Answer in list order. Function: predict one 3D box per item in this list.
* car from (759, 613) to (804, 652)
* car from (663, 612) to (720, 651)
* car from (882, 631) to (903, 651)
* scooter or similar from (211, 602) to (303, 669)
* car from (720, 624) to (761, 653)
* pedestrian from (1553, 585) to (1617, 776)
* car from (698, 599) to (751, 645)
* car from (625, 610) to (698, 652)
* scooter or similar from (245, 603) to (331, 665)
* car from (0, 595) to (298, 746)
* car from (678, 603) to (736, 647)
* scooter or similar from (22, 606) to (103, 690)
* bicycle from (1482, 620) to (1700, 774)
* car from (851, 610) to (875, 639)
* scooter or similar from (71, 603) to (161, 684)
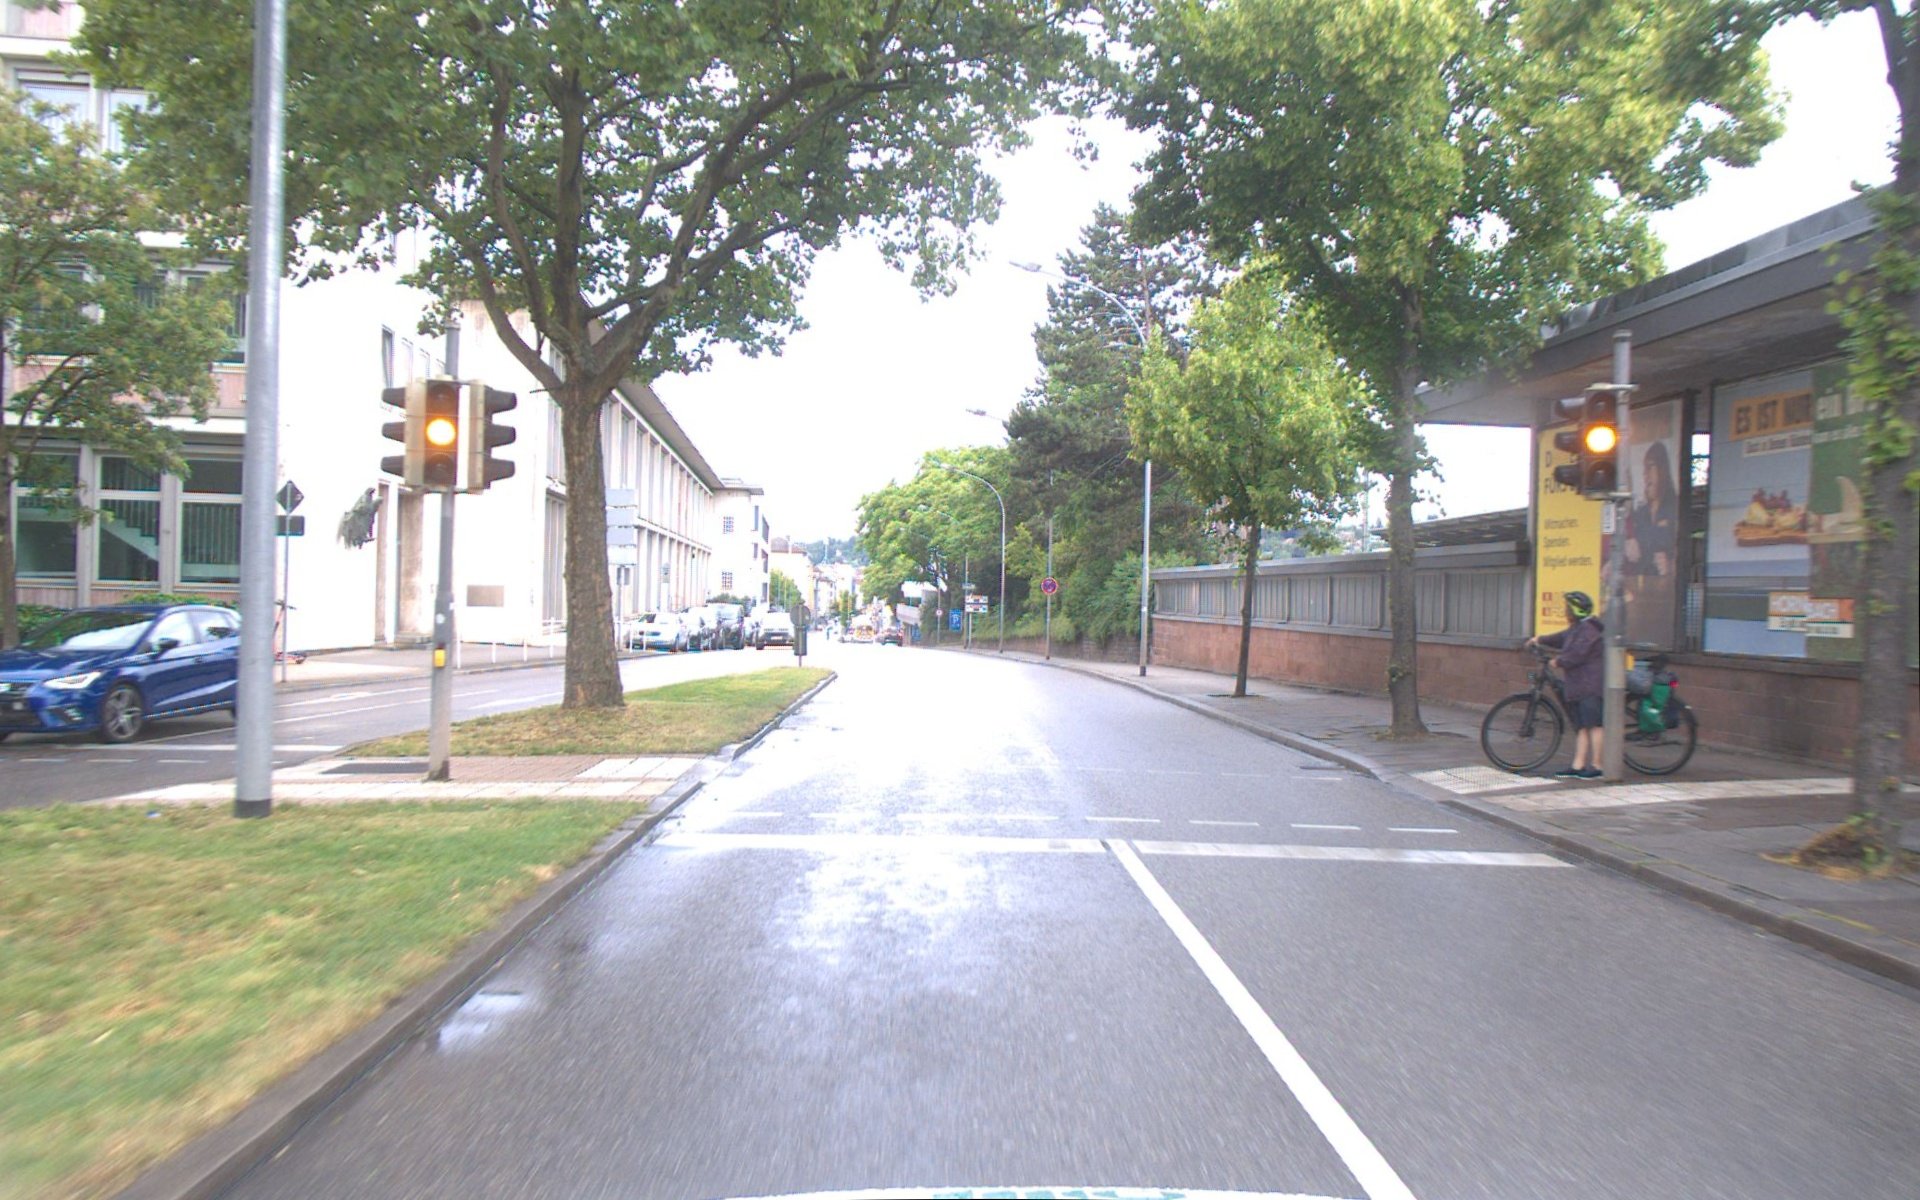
[{"bbox_3d":[-7.941,1.431,73.751,1.785,1.689,4.334,0,0,-3],"label":"car"},{"bbox_3d":[-10.045,1.156,62.047,1.511,1.377,4.109,1,-1,-1],"label":"car"},{"bbox_3d":[-6.890,4.156,168.771,2.050,1.944,4.096,0,0,-4],"label":"car"},{"bbox_3d":[-13.198,0.652,31.088,0.596,1.213,1.524,0,0,31],"label":"scooter or similar"},{"bbox_3d":[-12.024,2.114,90.901,1.779,1.510,4.906,2,-1,-3],"label":"car"},{"bbox_3d":[5.322,0.672,14.080,0.448,1.596,0.392,0,0,30],"label":"pedestrian"},{"bbox_3d":[-10.736,1.014,75.708,1.910,1.978,4.993,1,-1,-3],"label":"car"},{"bbox_3d":[-10.116,1.035,56.266,1.656,1.320,4.093,2,-1,1],"label":"car"},{"bbox_3d":[-13.157,0.643,32.414,0.596,1.185,1.524,0,0,31],"label":"scooter or similar"},{"bbox_3d":[-9.428,0.712,18.902,1.802,1.534,4.105,0,0,5],"label":"car"},{"bbox_3d":[-10.281,1.006,67.401,1.761,1.705,4.601,1,-1,-2],"label":"car"},{"bbox_3d":[-13.126,0.685,24.223,0.479,1.188,1.500,0,0,-5],"label":"scooter or similar"},{"bbox_3d":[5.469,0.826,14.369,1.688,1.271,0.485,-2,0,30],"label":"bicycle"},{"bbox_3d":[-9.219,2.310,156.870,2.219,2.703,3.997,0,0,-3],"label":"car"},{"bbox_3d":[-13.195,0.662,25.901,0.558,1.213,1.574,0,0,2],"label":"scooter or similar"}]
